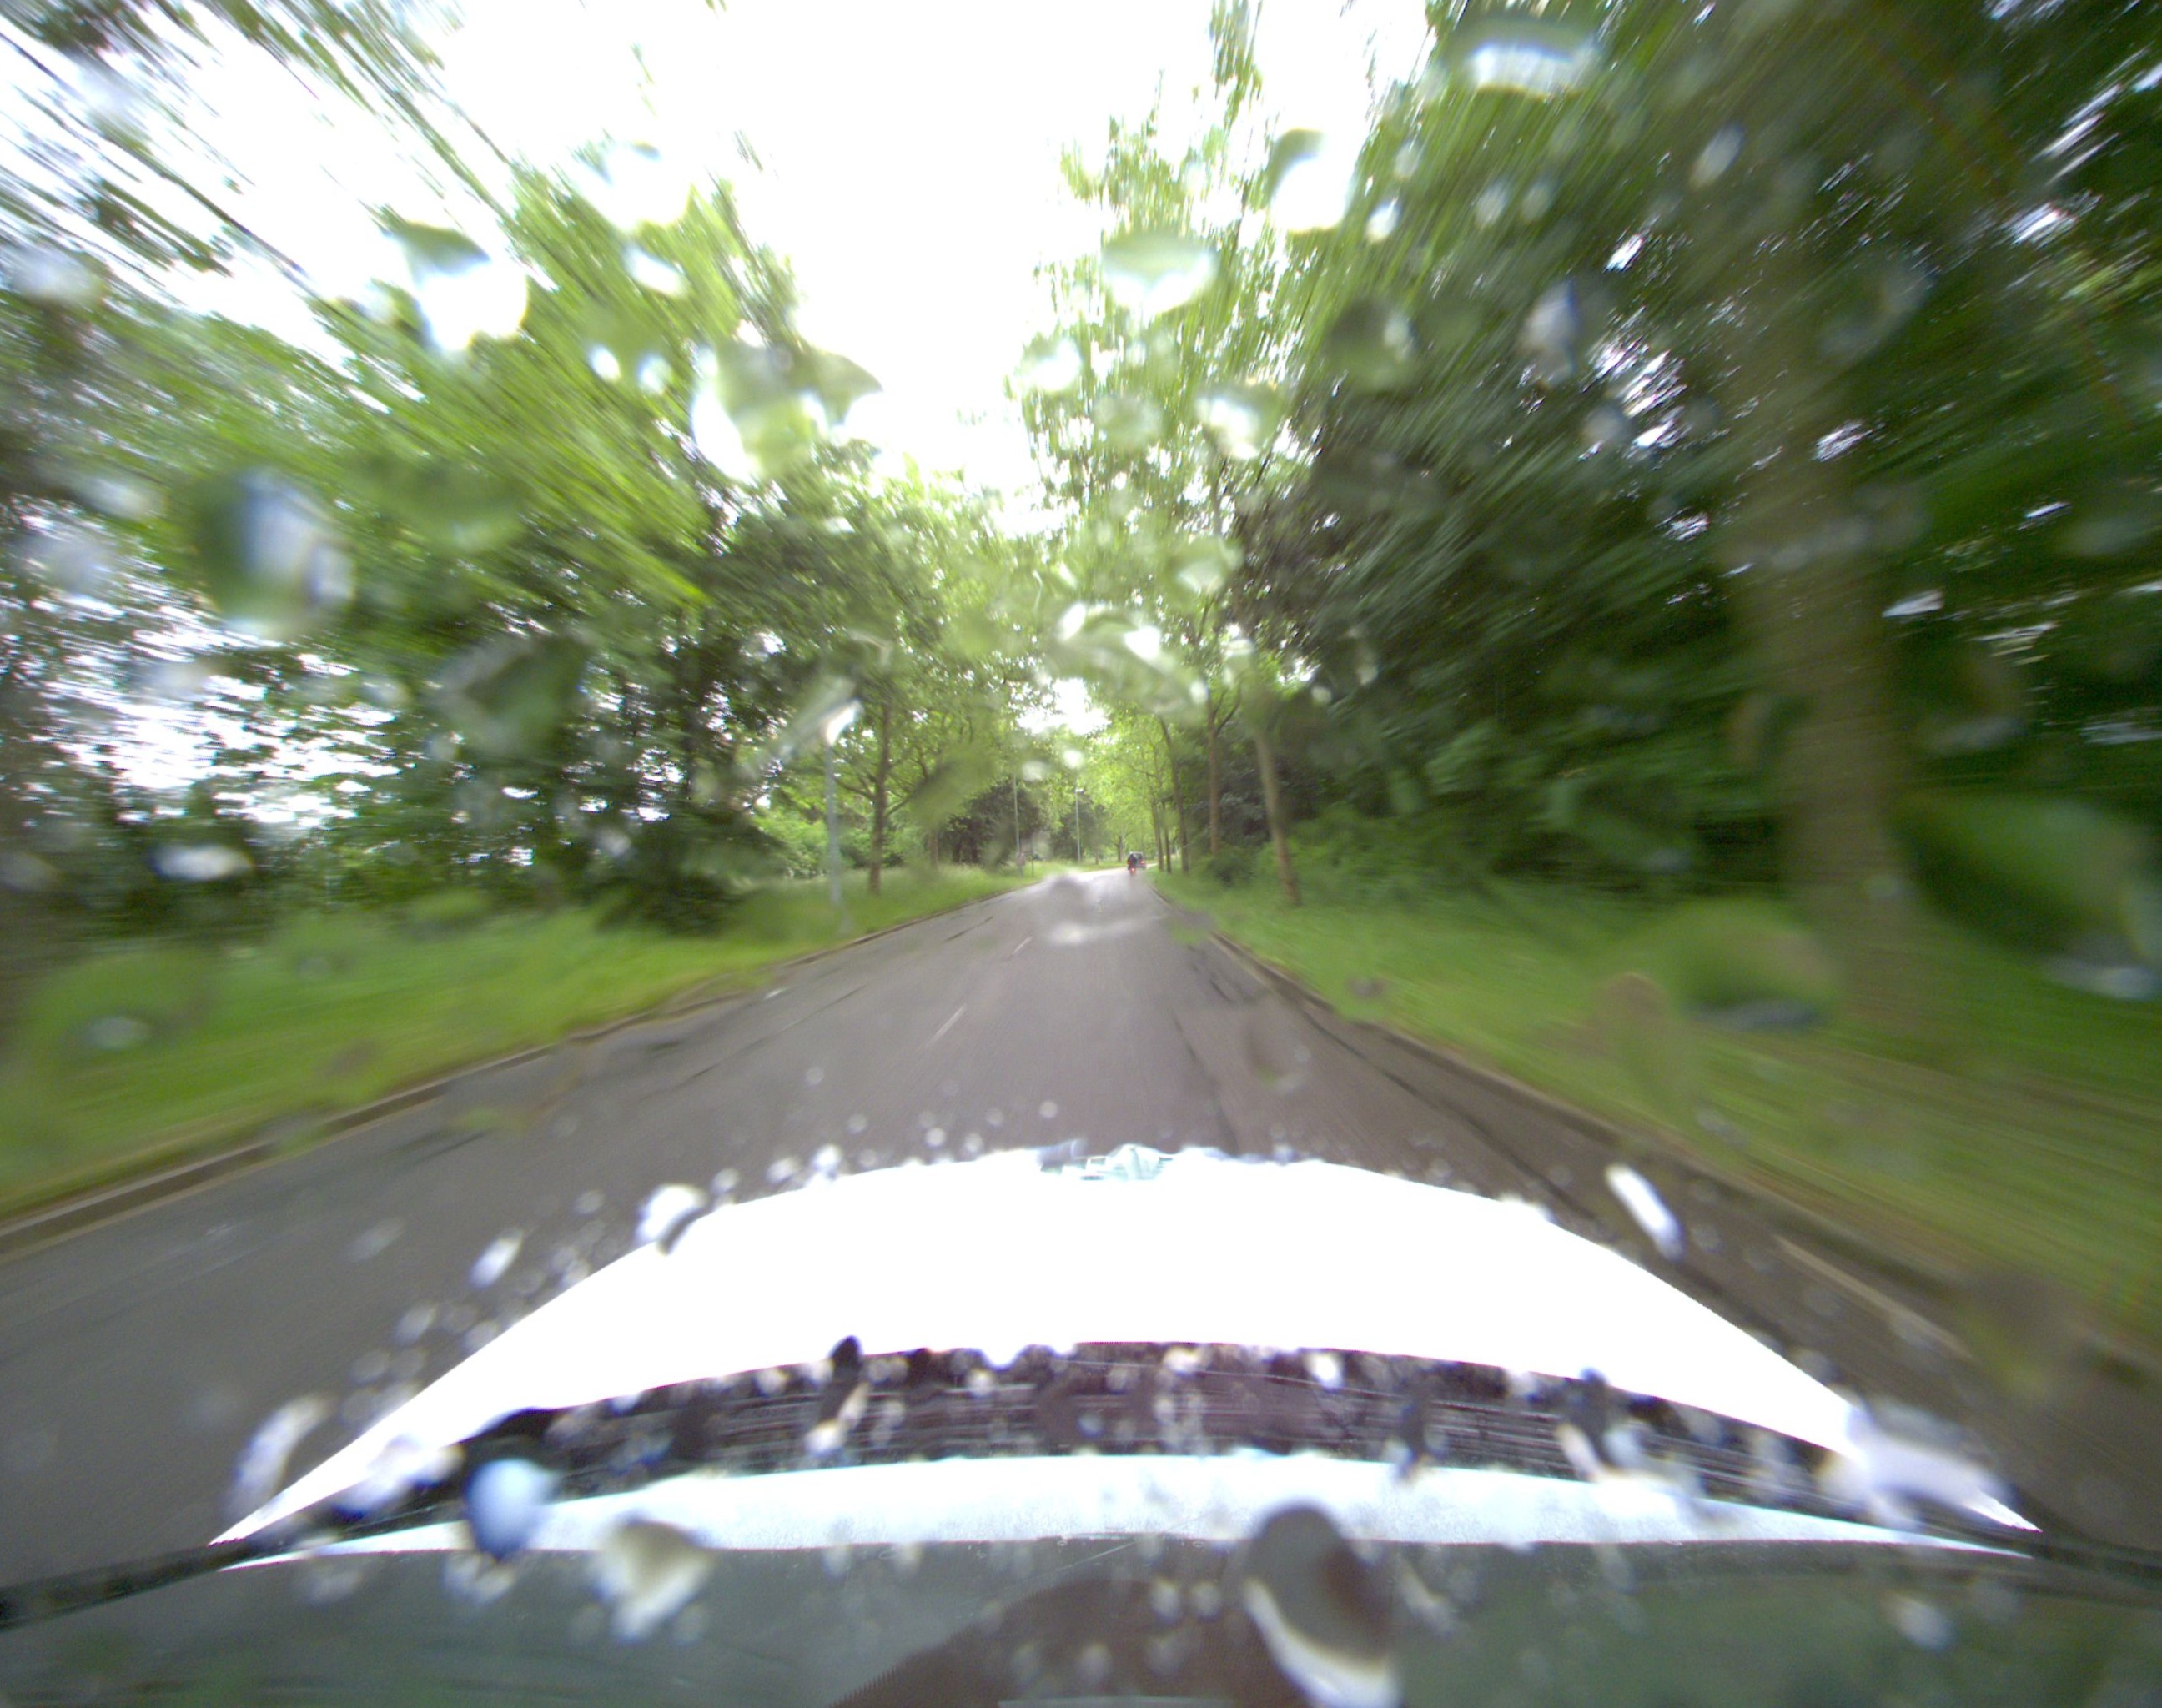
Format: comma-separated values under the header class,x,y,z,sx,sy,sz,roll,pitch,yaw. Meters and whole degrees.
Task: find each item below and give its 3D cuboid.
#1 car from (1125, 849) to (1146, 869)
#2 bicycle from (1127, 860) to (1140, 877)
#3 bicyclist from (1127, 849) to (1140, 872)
class,x,y,z,sx,sy,sz,roll,pitch,yaw
car,5.744,0.522,85.458,1.976,1.926,4.006,-2,0,5
bicycle,3.198,0.863,49.649,0.726,0.974,2.176,-1,0,5
bicyclist,3.168,0.392,49.414,0.726,1.411,0.974,-1,0,5
